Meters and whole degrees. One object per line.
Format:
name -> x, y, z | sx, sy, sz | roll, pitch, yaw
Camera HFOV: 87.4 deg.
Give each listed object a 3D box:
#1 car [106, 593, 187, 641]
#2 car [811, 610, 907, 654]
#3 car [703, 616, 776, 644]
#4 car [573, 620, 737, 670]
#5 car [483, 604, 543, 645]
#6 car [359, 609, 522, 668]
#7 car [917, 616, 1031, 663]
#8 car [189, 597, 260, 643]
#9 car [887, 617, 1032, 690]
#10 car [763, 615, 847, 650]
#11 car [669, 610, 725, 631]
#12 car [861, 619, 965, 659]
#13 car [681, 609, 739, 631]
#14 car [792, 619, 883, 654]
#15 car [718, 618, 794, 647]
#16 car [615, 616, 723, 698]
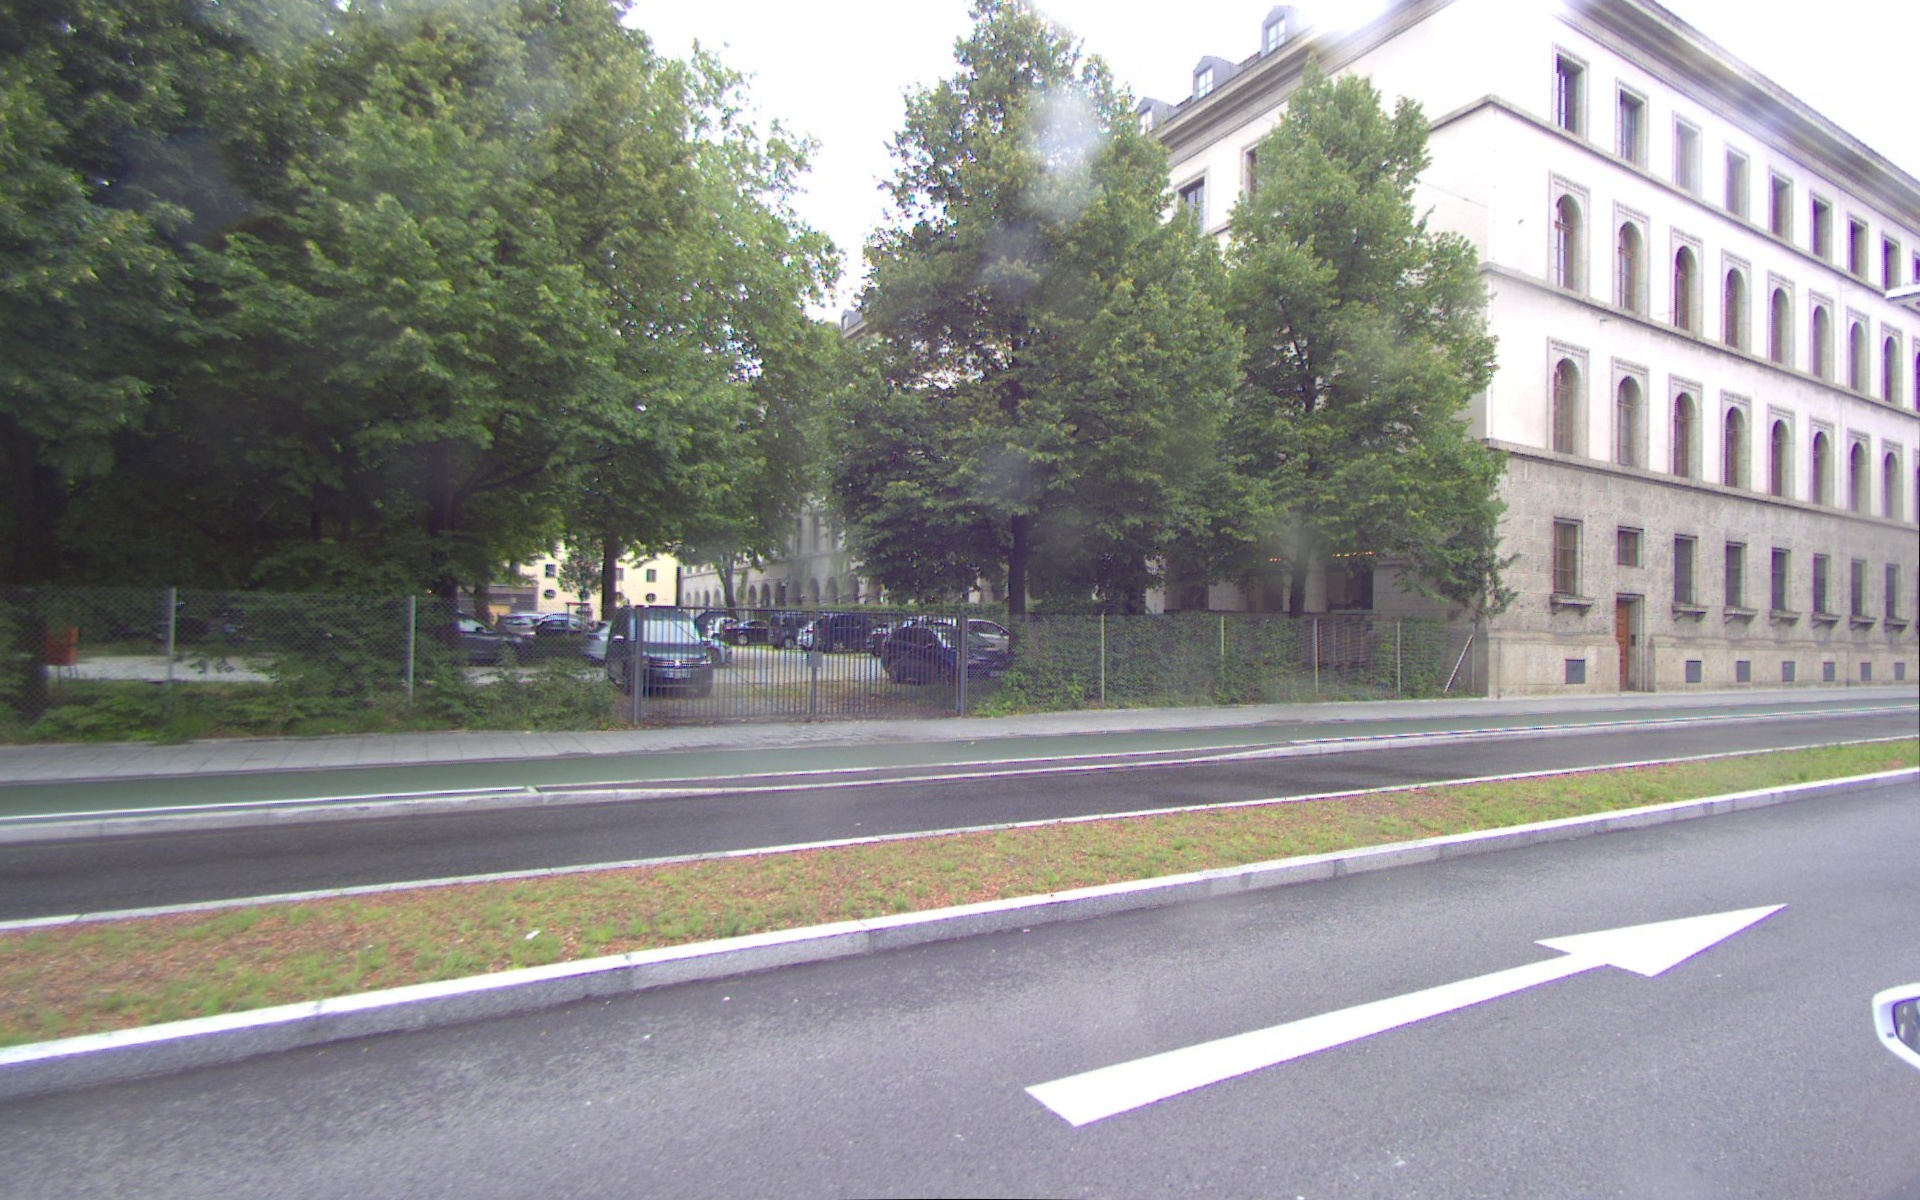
car -> -31.574, 0.689, 39.102 | 1.979, 1.742, 3.964 | 2, -2, -33
car -> -4.601, 1.472, 45.885 | 3.949, 1.954, 1.838 | 2, -2, -27
car -> -13.300, 1.817, 60.585 | 3.954, 1.564, 1.762 | 2, -2, -31
car -> -9.554, 1.405, 31.534 | 4.579, 1.460, 1.984 | 2, -2, -31
car -> -20.521, 1.125, 46.045 | 1.978, 1.742, 3.965 | 2, -2, -32
car -> -14.638, 1.087, 28.354 | 3.956, 1.564, 1.761 | 2, -2, -32
car -> 0.542, 1.461, 37.275 | 3.954, 1.661, 1.657 | 2, -1, -30
car -> -29.779, 0.826, 40.788 | 1.978, 1.742, 3.965 | 2, -2, -32
car -> -0.110, 1.292, 25.207 | 1.783, 1.671, 4.243 | 2, -2, -29
car -> -8.048, 1.702, 52.355 | 3.954, 1.755, 1.762 | 2, -2, -31
car -> -20.838, 1.616, 79.662 | 3.954, 1.564, 1.762 | 2, -2, -31
car -> -1.935, 1.620, 41.586 | 3.954, 1.564, 1.762 | 2, -2, -31
car -> -18.953, 1.540, 76.164 | 3.954, 1.564, 1.762 | 2, -2, -31
car -> -5.832, 1.755, 47.947 | 3.954, 1.564, 1.762 | 2, -2, -31
car -> -11.877, 1.893, 58.449 | 3.954, 1.564, 1.762 | 2, -2, -31
car -> -6.425, 1.182, 21.862 | 1.779, 1.609, 4.137 | 1, -2, -23
